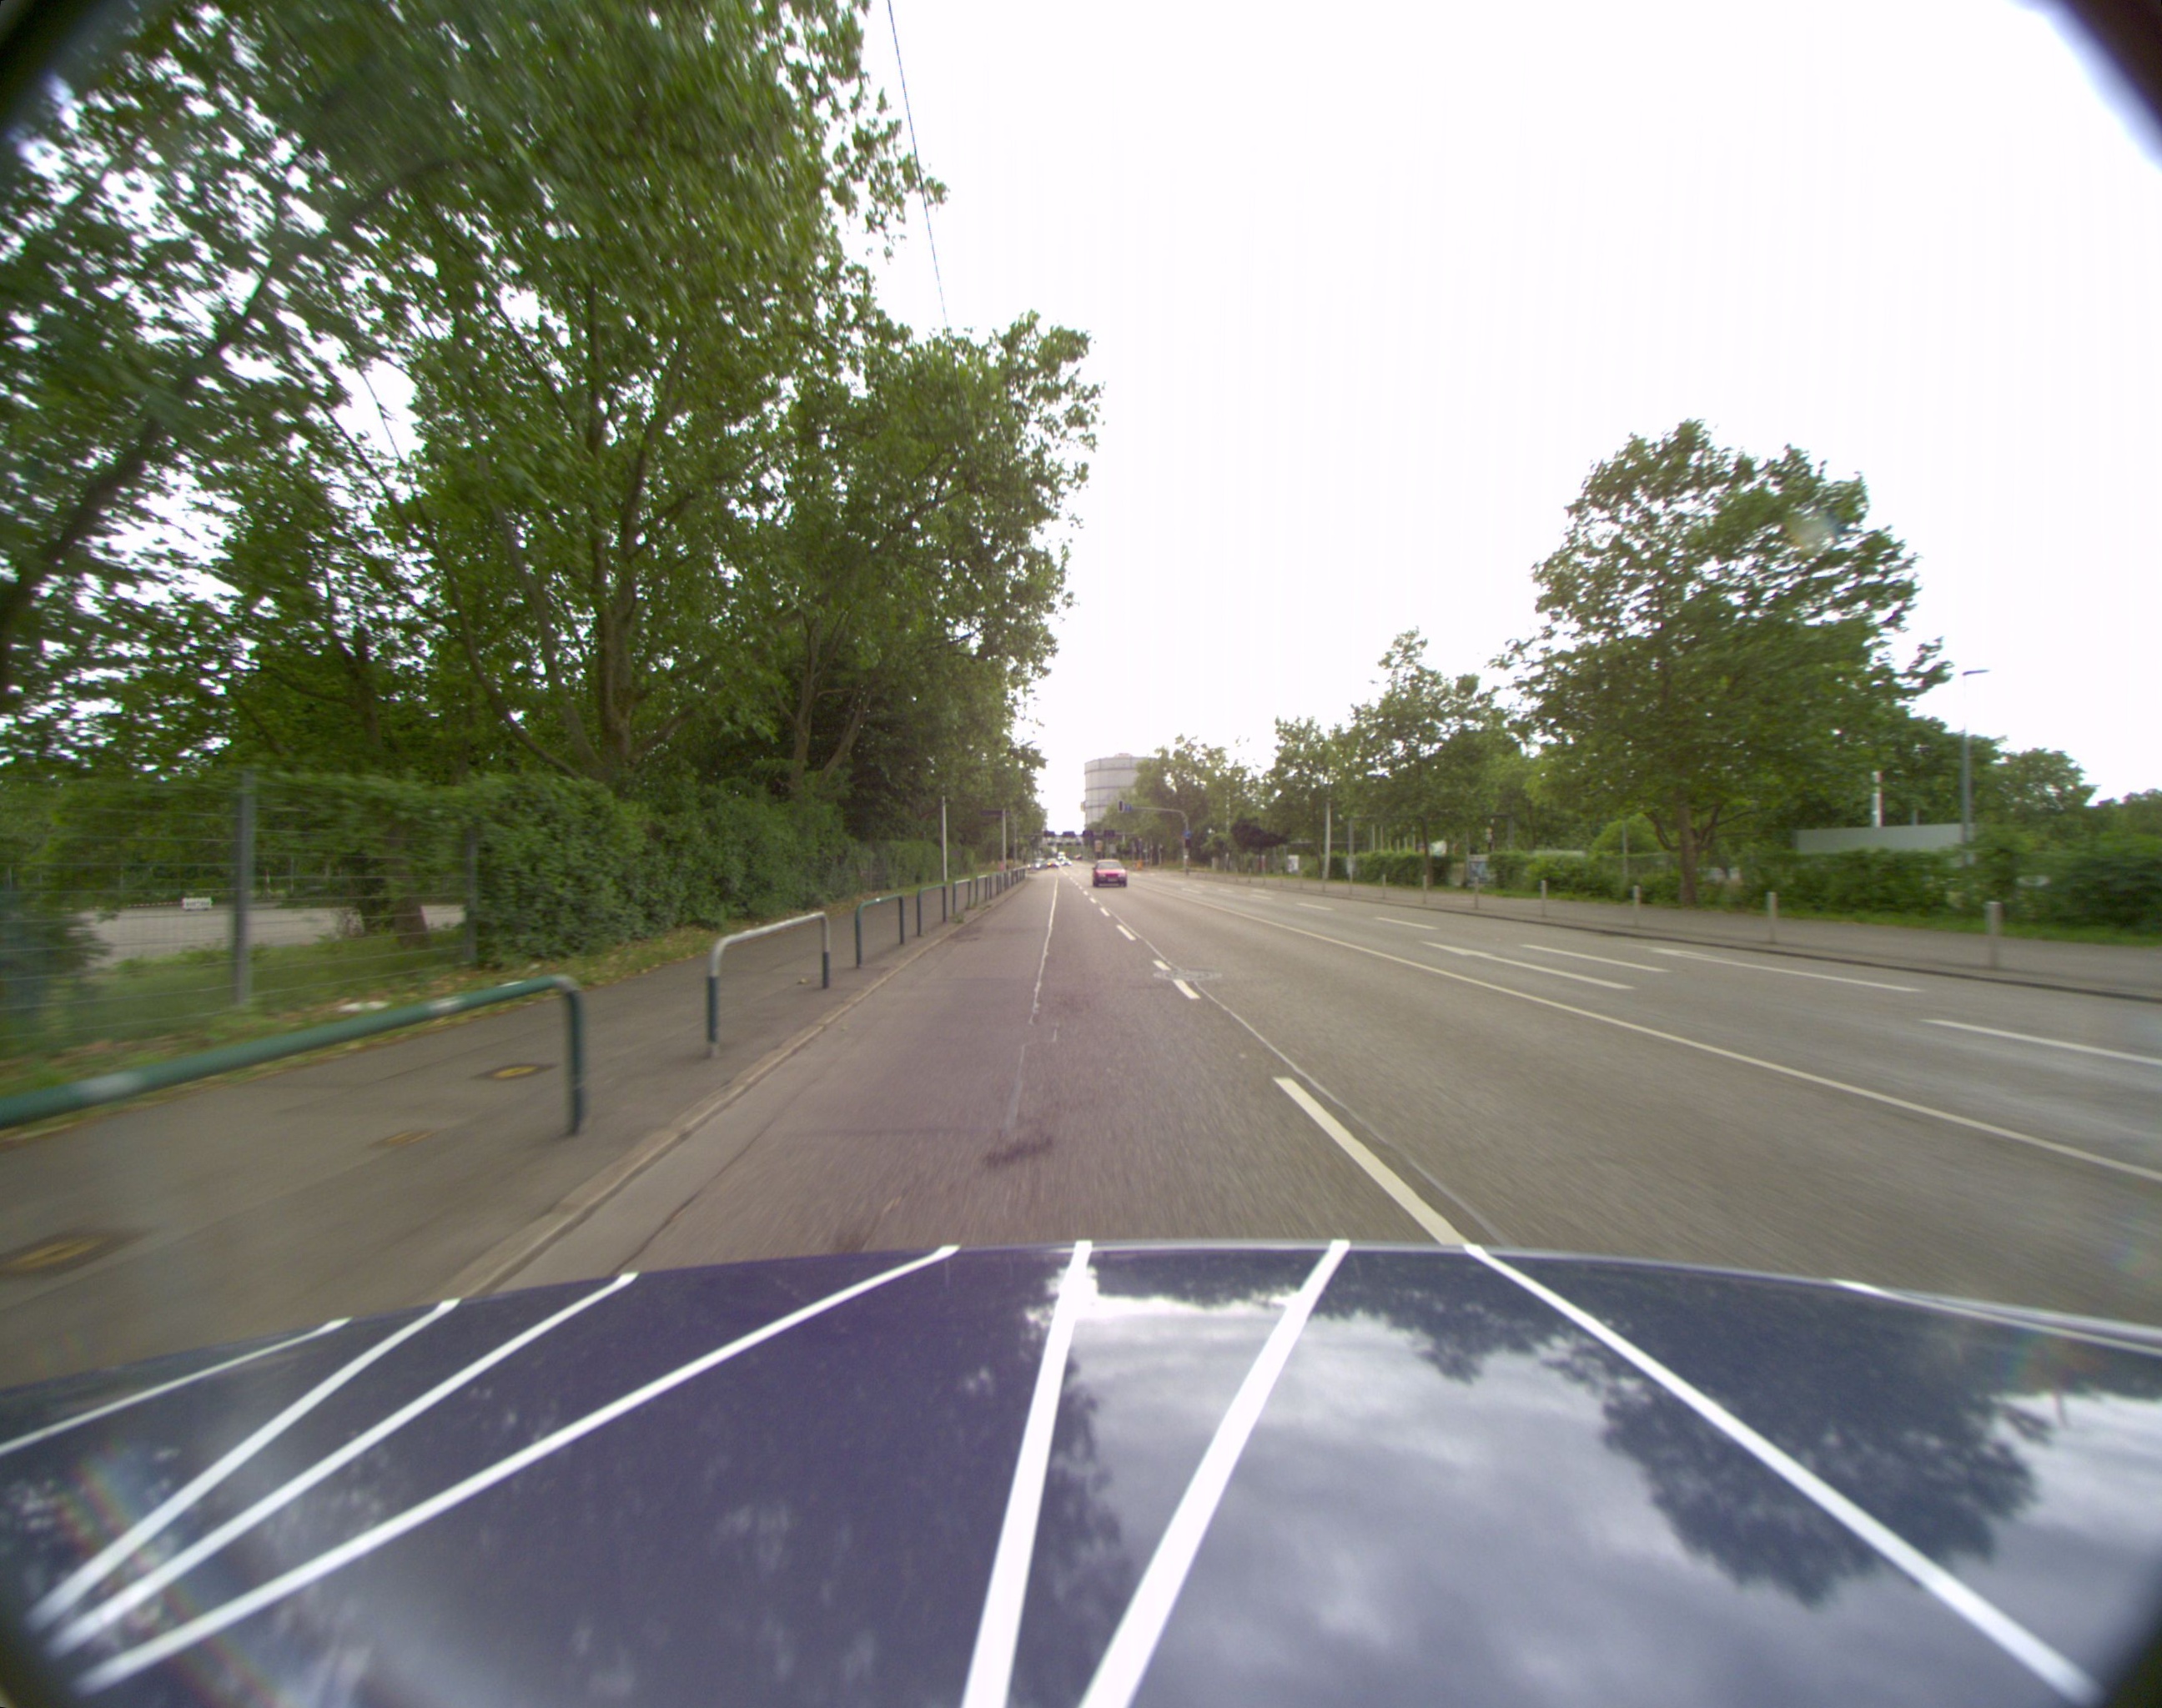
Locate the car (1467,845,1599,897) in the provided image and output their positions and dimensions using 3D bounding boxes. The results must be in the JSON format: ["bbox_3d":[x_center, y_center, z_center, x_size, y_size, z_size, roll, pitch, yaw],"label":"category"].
[{"bbox_3d":[18.523,0.649,31.445,2.394,2.002,4.633,0,0,-6],"label":"car"}]

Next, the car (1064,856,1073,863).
[{"bbox_3d":[-2.571,1.077,157.940,1.799,1.501,3.999,0,0,-2],"label":"car"}]

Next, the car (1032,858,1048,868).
[{"bbox_3d":[-5.840,1.315,108.469,1.740,1.363,3.873,0,0,5],"label":"car"}]

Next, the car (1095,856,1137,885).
[{"bbox_3d":[1.842,0.868,41.076,1.834,1.443,4.075,-1,0,-3],"label":"car"}]

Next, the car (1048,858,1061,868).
[{"bbox_3d":[-4.326,1.444,124.778,1.798,1.501,4.000,-2,1,2],"label":"car"}]
